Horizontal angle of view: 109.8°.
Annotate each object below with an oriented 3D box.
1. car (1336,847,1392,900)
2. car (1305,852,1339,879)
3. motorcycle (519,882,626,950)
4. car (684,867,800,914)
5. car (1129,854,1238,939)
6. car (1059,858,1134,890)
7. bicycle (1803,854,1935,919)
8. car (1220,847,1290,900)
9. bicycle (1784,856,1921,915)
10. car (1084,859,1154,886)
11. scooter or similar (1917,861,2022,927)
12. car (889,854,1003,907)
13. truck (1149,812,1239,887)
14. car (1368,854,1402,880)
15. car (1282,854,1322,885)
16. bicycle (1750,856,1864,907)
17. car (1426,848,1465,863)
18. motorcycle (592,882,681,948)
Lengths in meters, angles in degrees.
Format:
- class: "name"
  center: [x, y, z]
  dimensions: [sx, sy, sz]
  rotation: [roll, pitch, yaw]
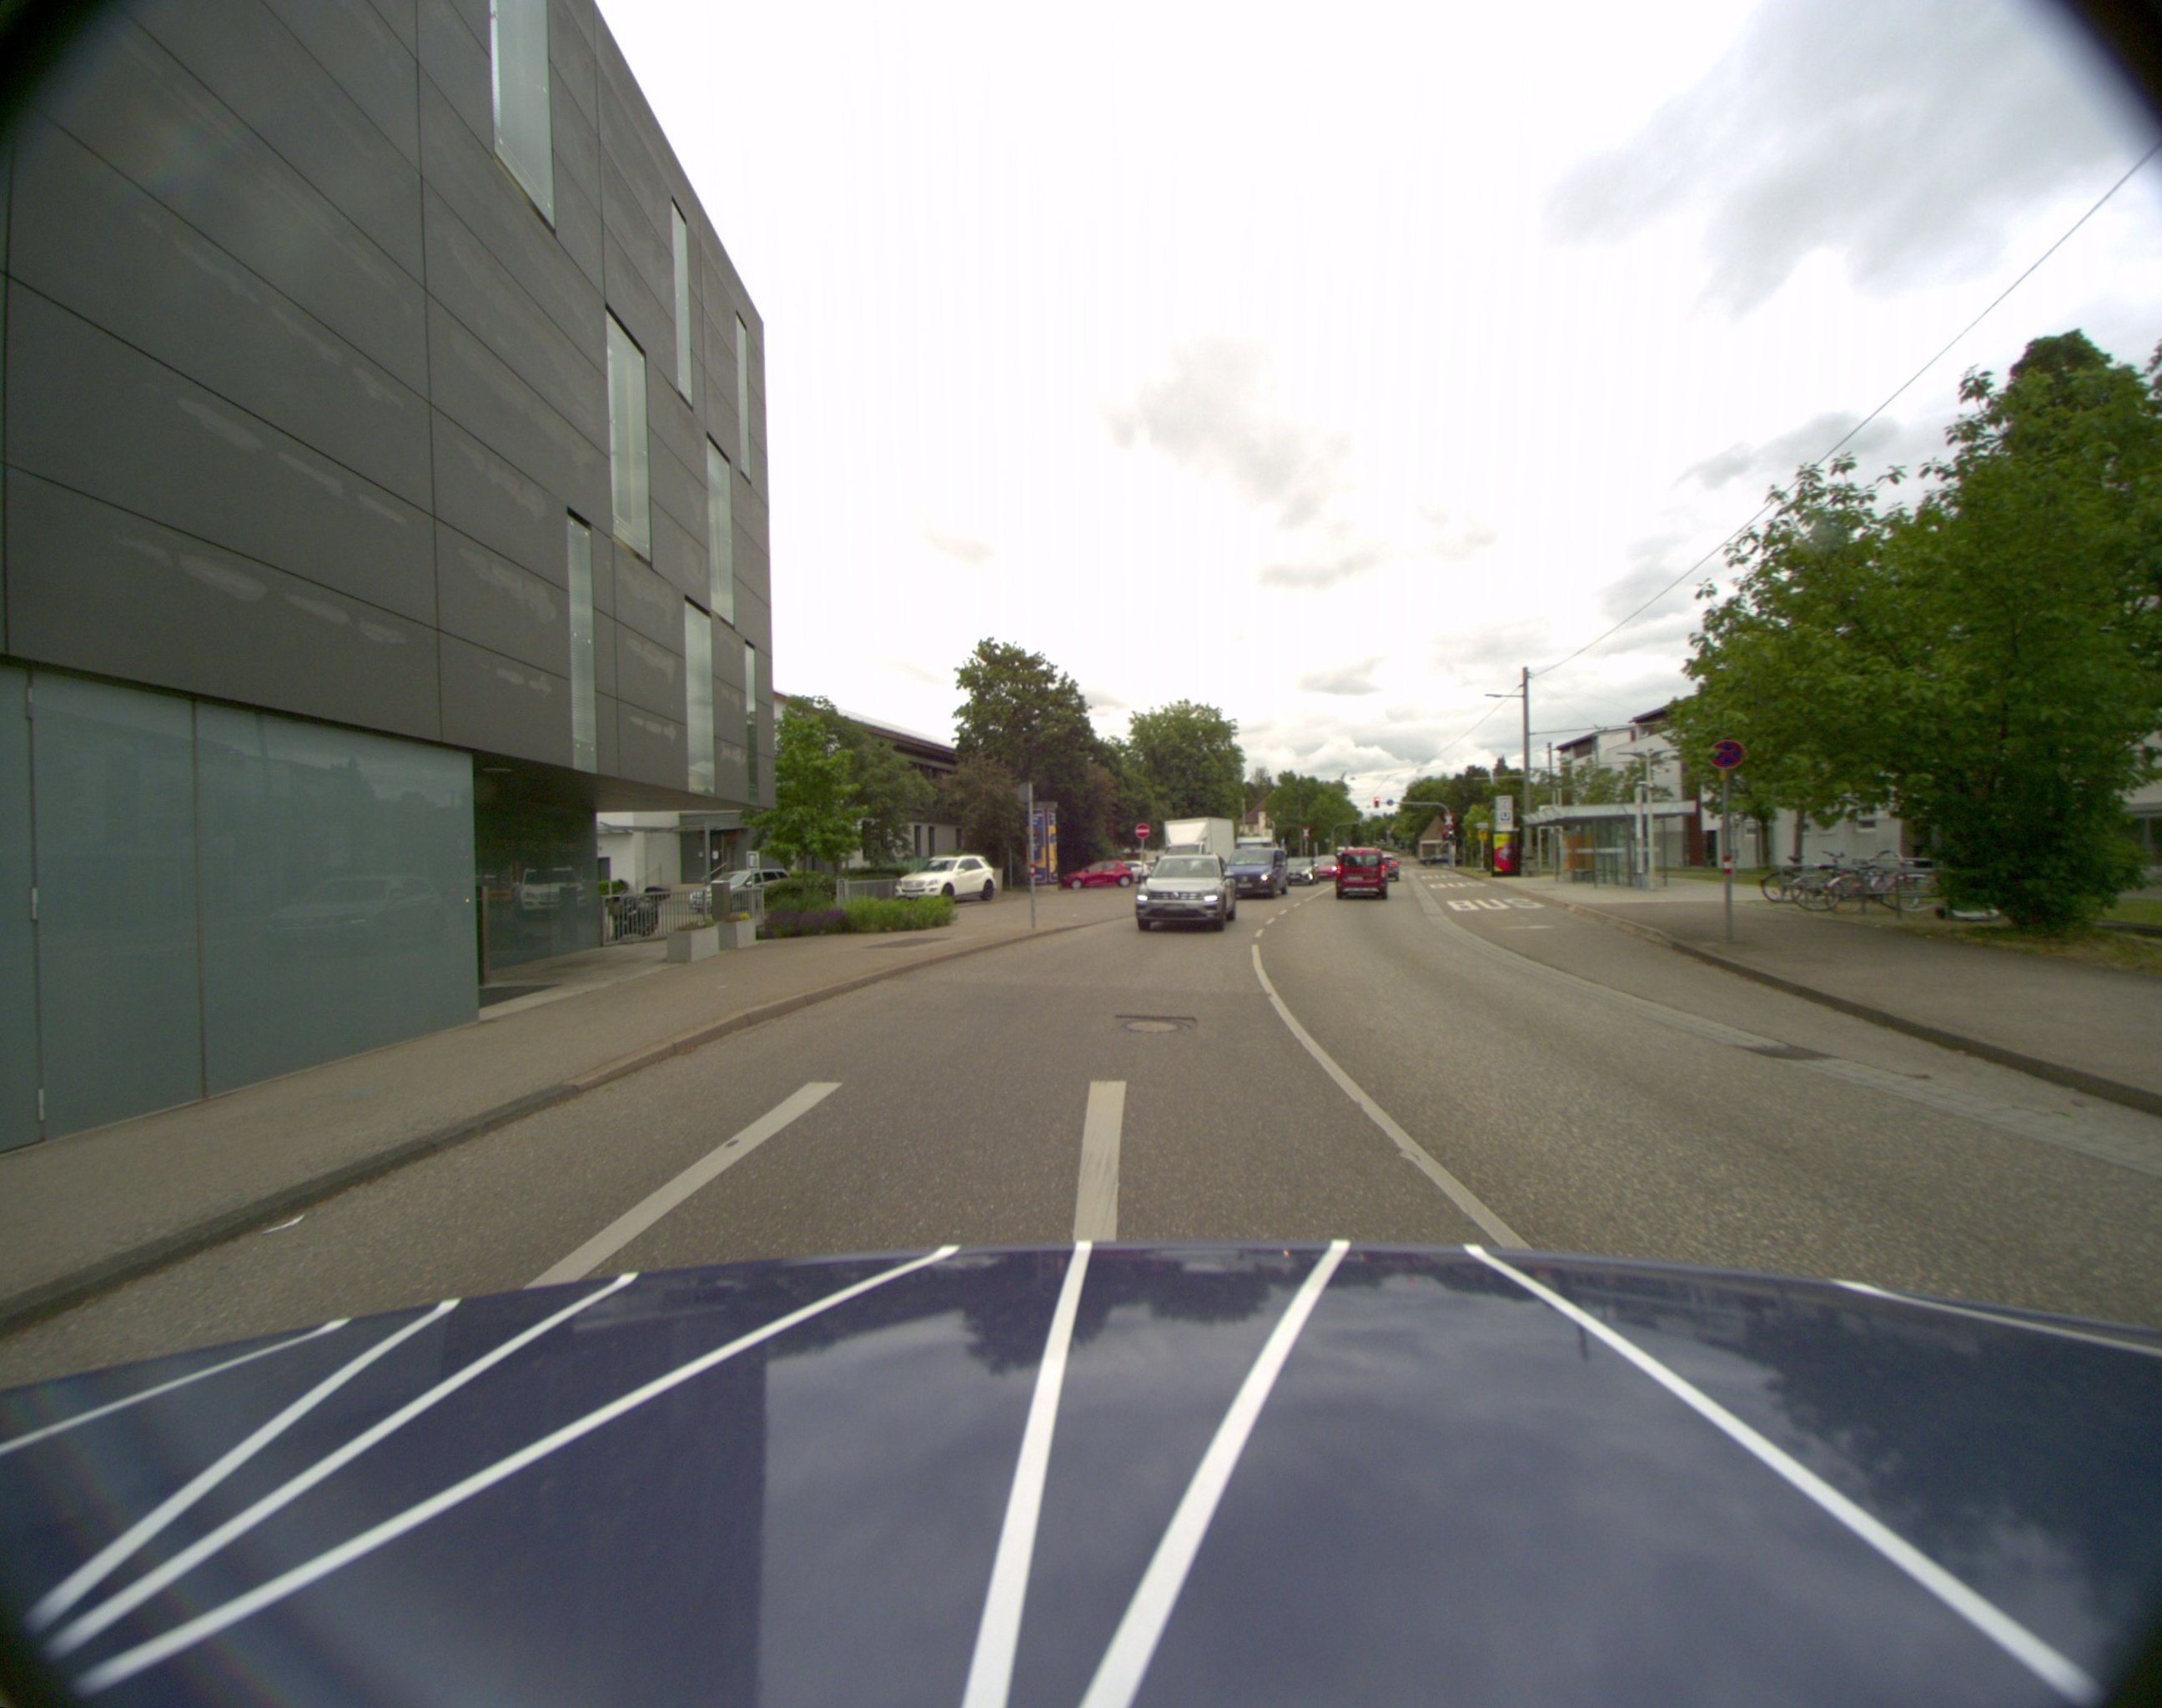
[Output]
- class: "car"
  center: [10.260, 0.643, 27.775]
  dimensions: [1.682, 1.798, 4.357]
  rotation: [0, 0, 18]
- class: "car"
  center: [14.685, 0.666, 46.266]
  dimensions: [1.847, 1.525, 4.005]
  rotation: [-1, 0, 18]
- class: "motorcycle"
  center: [-11.831, 1.392, 17.807]
  dimensions: [0.669, 1.385, 2.464]
  rotation: [-2, 0, 4]
- class: "car"
  center: [-12.762, 1.325, 28.903]
  dimensions: [1.618, 1.475, 4.222]
  rotation: [-1, 1, 16]
- class: "car"
  center: [2.457, 0.852, 17.225]
  dimensions: [1.809, 1.637, 4.335]
  rotation: [-2, 0, 16]
- class: "car"
  center: [0.817, 1.085, 41.483]
  dimensions: [3.896, 1.475, 1.683]
  rotation: [-4, 0, -2]
- class: "bicycle"
  center: [14.259, 0.594, 13.770]
  dimensions: [1.707, 1.082, 0.408]
  rotation: [-3, 0, 10]
- class: "car"
  center: [6.630, 0.683, 28.619]
  dimensions: [1.846, 1.850, 4.006]
  rotation: [-1, 0, 23]
- class: "bicycle"
  center: [14.538, 0.607, 14.372]
  dimensions: [1.750, 1.040, 0.409]
  rotation: [-3, 0, 24]
- class: "car"
  center: [2.300, 1.110, 46.424]
  dimensions: [4.000, 1.402, 1.523]
  rotation: [-3, 0, -9]
- class: "scooter or similar"
  center: [14.229, 0.631, 12.191]
  dimensions: [0.788, 1.004, 0.774]
  rotation: [-2, 0, 15]
- class: "car"
  center: [-4.868, 0.903, 28.096]
  dimensions: [1.854, 1.747, 4.729]
  rotation: [-2, 0, 22]
- class: "truck"
  center: [5.933, -0.265, 38.583]
  dimensions: [2.537, 3.406, 7.787]
  rotation: [-2, 1, 23]
- class: "car"
  center: [17.816, 0.725, 44.520]
  dimensions: [1.769, 1.470, 4.006]
  rotation: [0, 0, 22]
- class: "car"
  center: [11.671, 0.781, 40.040]
  dimensions: [1.847, 1.525, 4.005]
  rotation: [-1, 0, 18]
- class: "bicycle"
  center: [15.561, 0.599, 16.329]
  dimensions: [1.689, 1.019, 0.396]
  rotation: [-3, 0, 24]
- class: "car"
  center: [43.574, 0.215, 91.016]
  dimensions: [3.991, 1.696, 1.931]
  rotation: [-2, 0, 19]
- class: "motorcycle"
  center: [-10.334, 1.380, 17.758]
  dimensions: [0.669, 1.384, 2.125]
  rotation: [-2, -1, 4]
